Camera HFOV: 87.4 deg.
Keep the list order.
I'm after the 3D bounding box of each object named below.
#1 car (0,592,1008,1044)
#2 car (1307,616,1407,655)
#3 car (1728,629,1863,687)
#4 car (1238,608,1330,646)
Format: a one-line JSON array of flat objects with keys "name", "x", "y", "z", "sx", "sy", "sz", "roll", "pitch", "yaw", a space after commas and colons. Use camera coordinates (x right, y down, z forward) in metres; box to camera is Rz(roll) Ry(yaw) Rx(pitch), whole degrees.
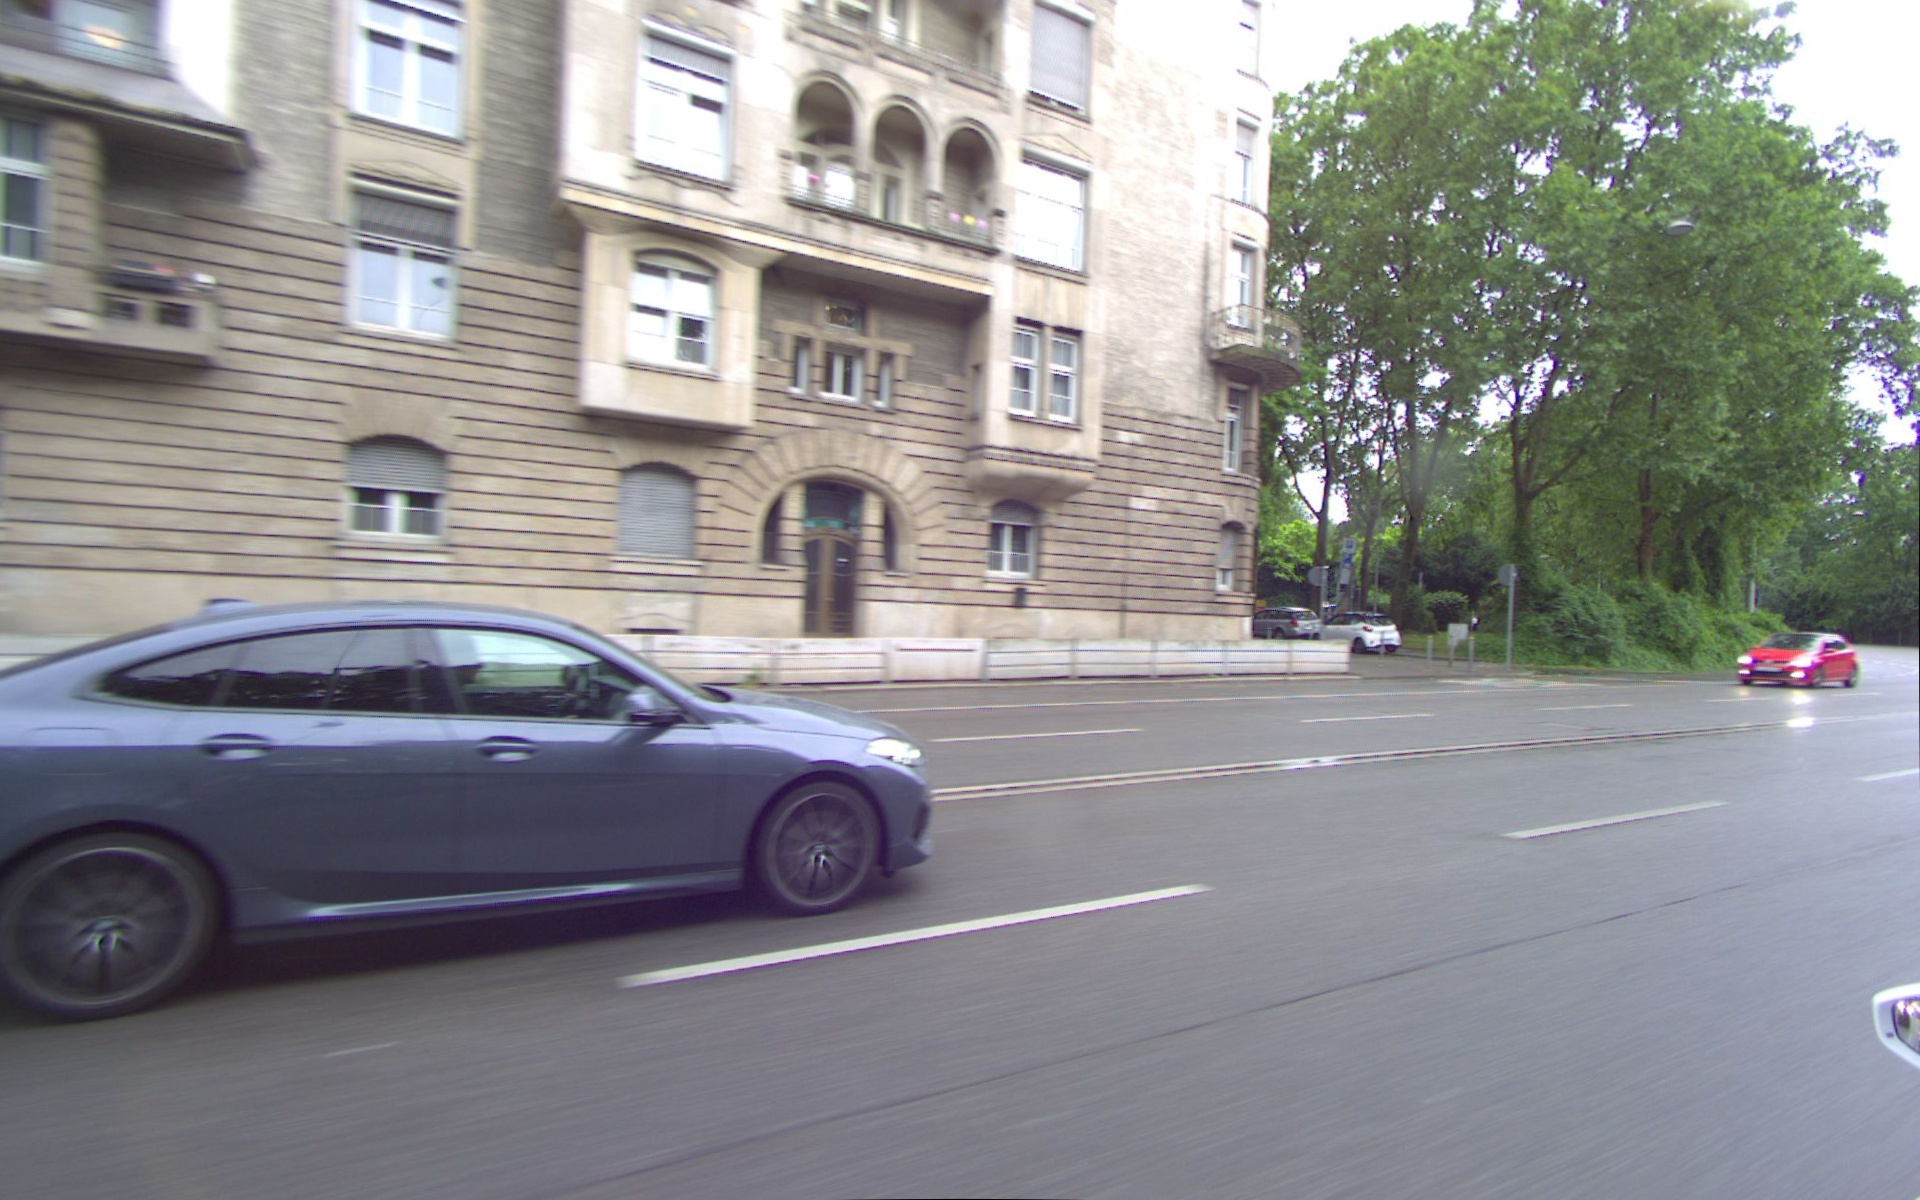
[{"name": "car", "x": -2.099, "y": 0.737, "z": 4.775, "sx": 4.488, "sy": 1.434, "sz": 1.656, "roll": 2, "pitch": 0, "yaw": -31}, {"name": "car", "x": 15.466, "y": 1.346, "z": 39.303, "sx": 1.752, "sy": 1.394, "sz": 3.489, "roll": 0, "pitch": 0, "yaw": -20}, {"name": "car", "x": 22.632, "y": 1.532, "z": 27.183, "sx": 3.916, "sy": 1.433, "sz": 1.572, "roll": 2, "pitch": 0, "yaw": -31}, {"name": "car", "x": 13.840, "y": 1.134, "z": 43.149, "sx": 1.753, "sy": 1.532, "sz": 3.804, "roll": 0, "pitch": 0, "yaw": -22}]
